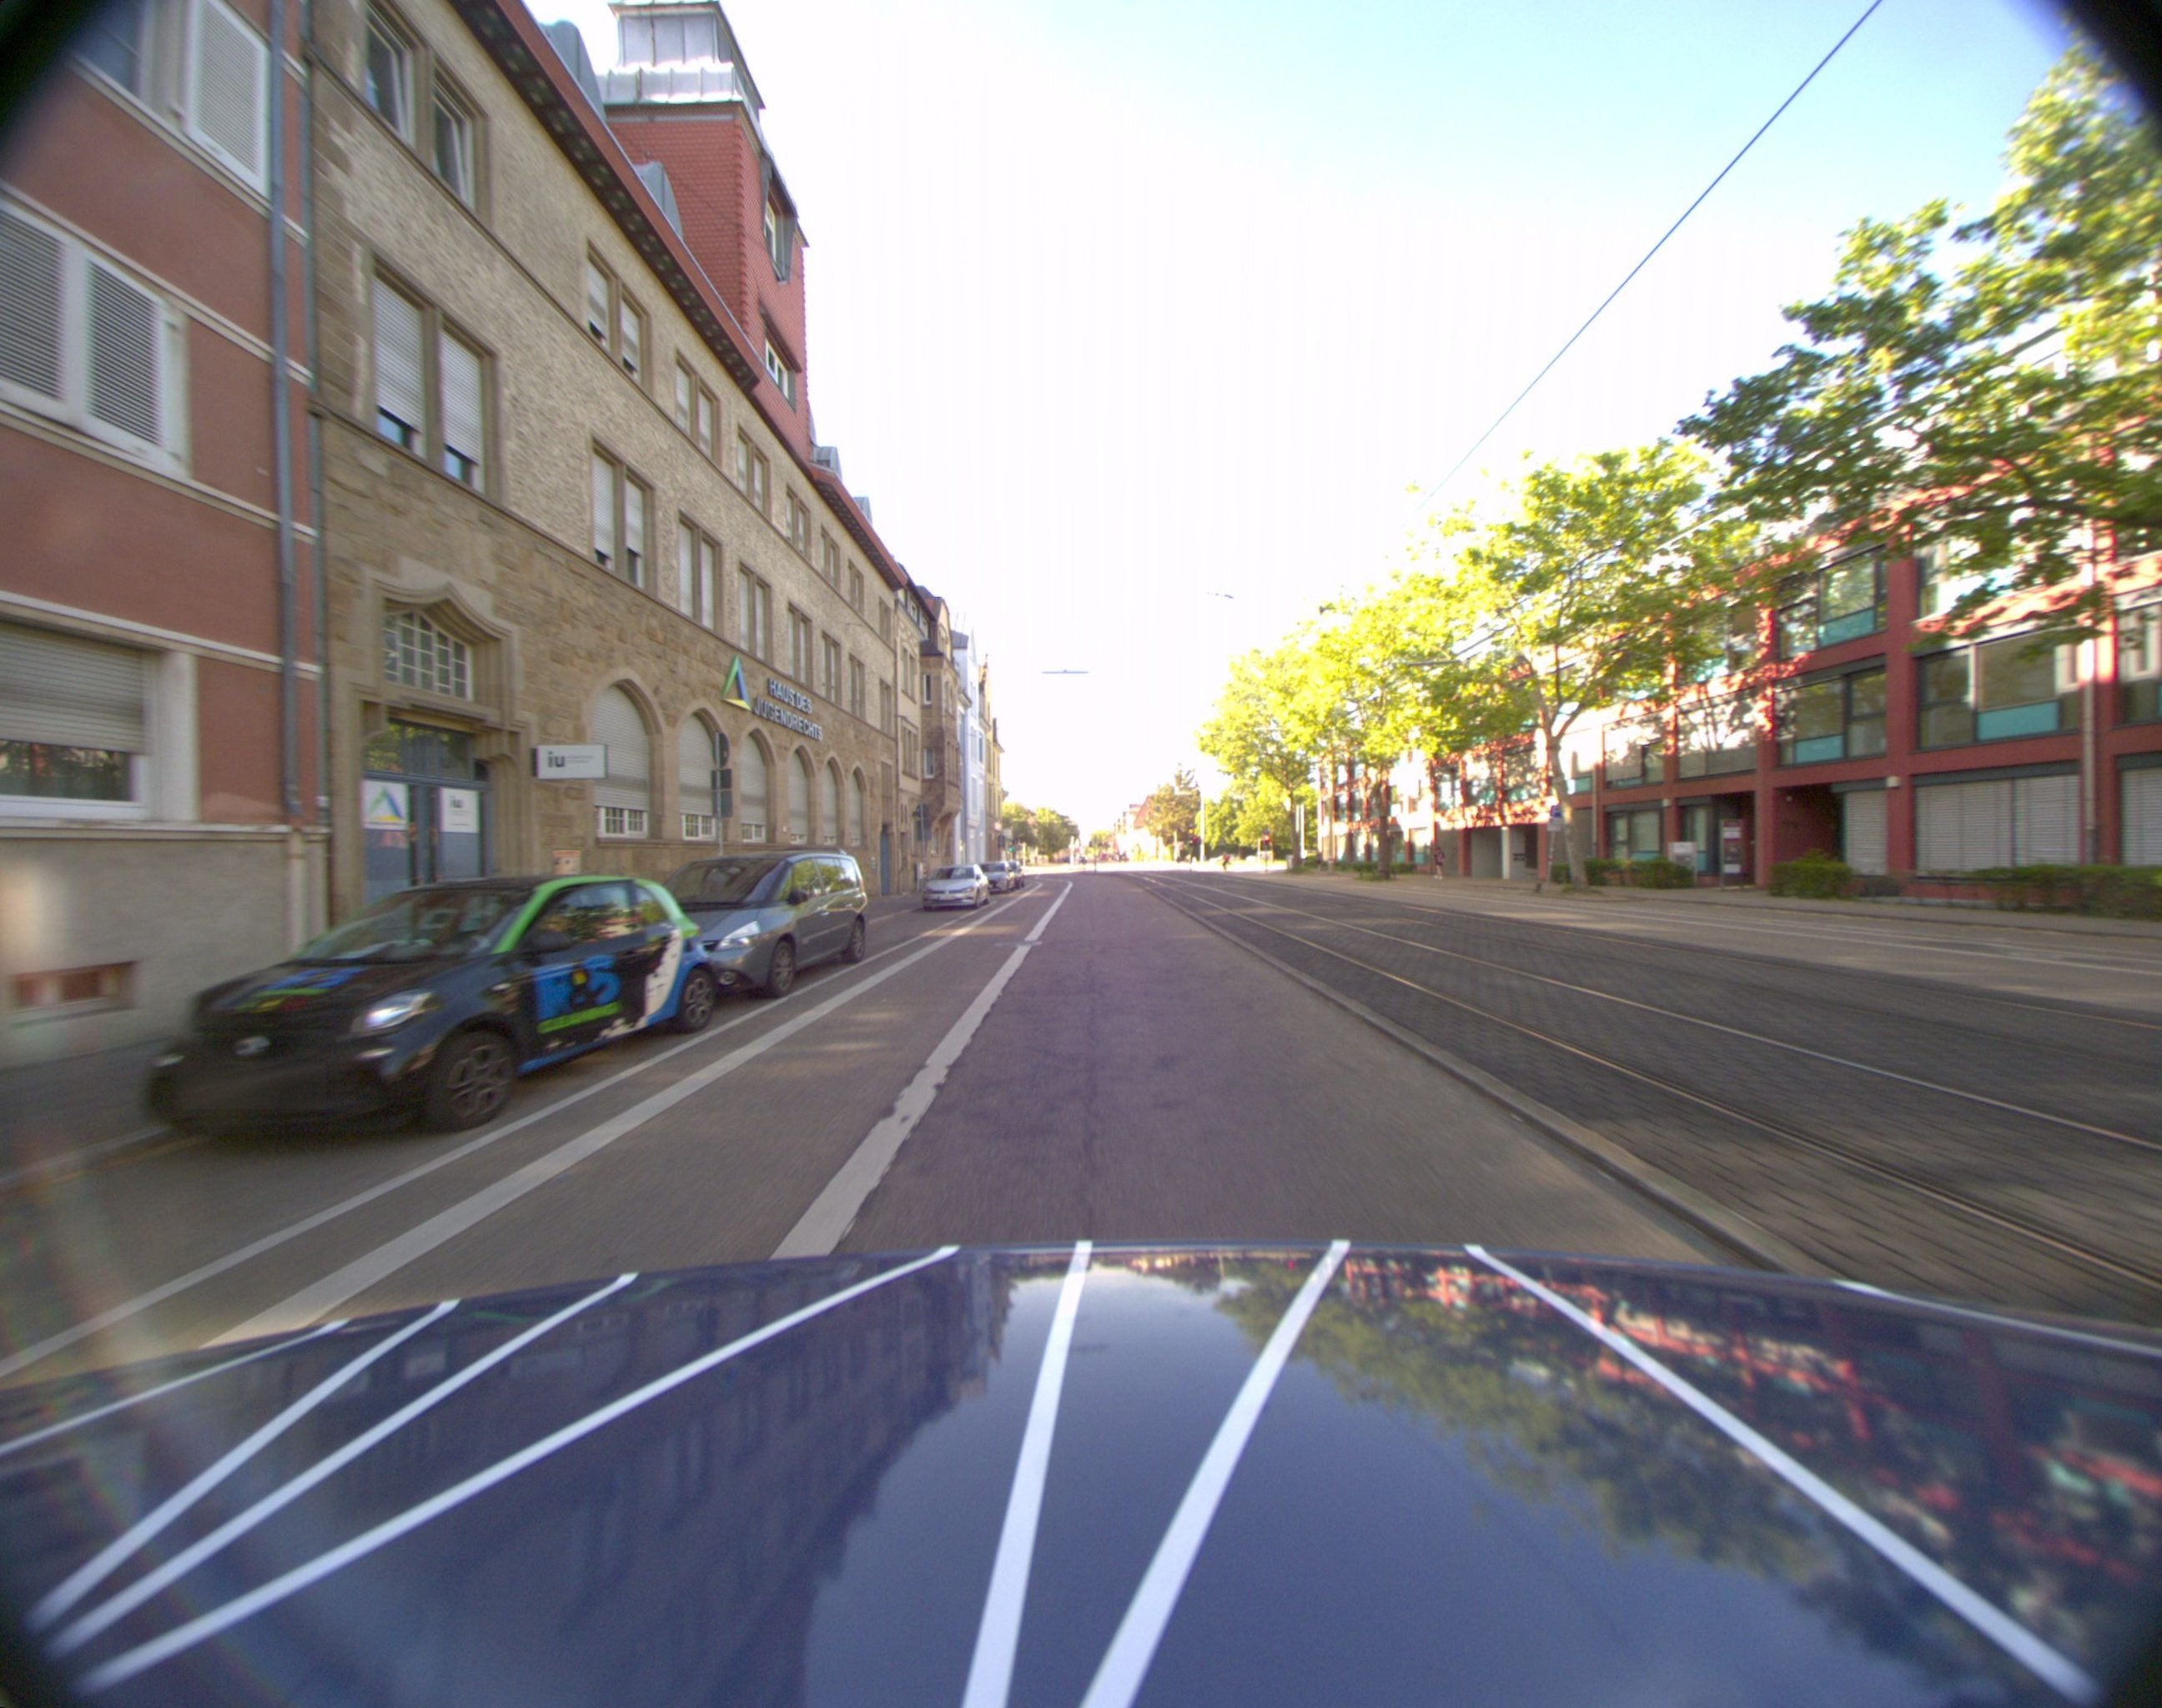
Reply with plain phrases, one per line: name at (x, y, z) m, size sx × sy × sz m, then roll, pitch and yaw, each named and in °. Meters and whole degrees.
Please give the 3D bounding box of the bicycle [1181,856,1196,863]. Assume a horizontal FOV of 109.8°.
bicycle at (16.799, 0.862, 118.661) m, size 2.284 × 1.111 × 0.930 m, roll -1°, pitch 1°, yaw 9°

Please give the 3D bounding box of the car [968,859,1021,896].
car at (-3.979, 1.053, 35.568) m, size 1.757 × 1.492 × 4.196 m, roll -3°, pitch 0°, yaw 2°

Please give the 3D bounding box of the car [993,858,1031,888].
car at (-3.680, 1.001, 41.105) m, size 1.659 × 1.474 × 4.000 m, roll -2°, pitch 0°, yaw 0°

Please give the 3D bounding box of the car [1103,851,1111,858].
car at (7.037, 0.130, 205.183) m, size 2.024 × 2.001 × 5.252 m, roll 1°, pitch -1°, yaw 4°

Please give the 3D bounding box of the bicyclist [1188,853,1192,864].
bicyclist at (16.982, 0.726, 118.609) m, size 0.559 × 1.613 × 0.899 m, roll -1°, pitch 1°, yaw 9°

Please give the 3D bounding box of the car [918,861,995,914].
car at (-4.049, 1.041, 25.376) m, size 1.718 × 1.492 × 4.226 m, roll -3°, pitch 0°, yaw 1°

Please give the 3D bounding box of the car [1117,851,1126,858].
car at (10.665, 0.208, 200.263) m, size 1.924 × 1.705 × 4.000 m, roll -3°, pitch 0°, yaw 1°

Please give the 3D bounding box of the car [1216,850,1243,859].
car at (22.916, 0.079, 117.648) m, size 3.995 × 1.425 × 1.817 m, roll -1°, pitch 0°, yaw 6°

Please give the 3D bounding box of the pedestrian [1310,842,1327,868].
pedestrian at (18.868, 0.095, 60.357) m, size 0.913 × 2.002 × 0.780 m, roll -3°, pitch 0°, yaw -8°

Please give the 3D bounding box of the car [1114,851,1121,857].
car at (11.084, -0.006, 230.076) m, size 1.924 × 1.705 × 4.001 m, roll -3°, pitch 0°, yaw 2°

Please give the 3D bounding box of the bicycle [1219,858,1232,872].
bicycle at (12.738, 0.962, 66.961) m, size 0.632 × 1.123 × 2.039 m, roll -3°, pitch 0°, yaw 26°

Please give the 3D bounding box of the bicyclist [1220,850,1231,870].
bicyclist at (12.725, 0.520, 66.970) m, size 0.605 × 1.682 × 0.934 m, roll -3°, pitch 0°, yaw 26°

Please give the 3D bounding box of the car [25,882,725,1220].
car at (-4.450, 1.076, 5.705) m, size 1.635 × 1.502 × 3.717 m, roll -3°, pitch 0°, yaw 2°

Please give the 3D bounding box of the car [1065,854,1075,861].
car at (-2.534, 0.827, 176.676) m, size 1.704 × 1.541 × 4.002 m, roll -3°, pitch 0°, yaw 6°

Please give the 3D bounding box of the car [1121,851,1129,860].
car at (10.334, 0.369, 178.949) m, size 1.923 × 1.890 × 4.001 m, roll -3°, pitch 0°, yaw 3°

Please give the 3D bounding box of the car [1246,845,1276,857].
car at (28.424, -0.484, 120.117) m, size 4.311 × 1.856 × 1.817 m, roll -1°, pitch 0°, yaw 3°

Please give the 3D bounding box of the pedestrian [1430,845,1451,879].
pedestrian at (18.915, 0.419, 39.953) m, size 0.627 × 1.708 × 0.900 m, roll -3°, pitch 0°, yaw 0°

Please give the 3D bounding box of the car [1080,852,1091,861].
car at (0.975, 0.552, 163.242) m, size 1.923 × 1.705 × 4.001 m, roll -3°, pitch 0°, yaw 3°

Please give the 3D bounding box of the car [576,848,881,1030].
car at (-4.291, 0.879, 10.290) m, size 1.757 × 1.844 × 4.815 m, roll -2°, pitch 0°, yaw 1°

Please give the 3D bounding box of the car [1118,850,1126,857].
car at (10.449, -0.109, 193.974) m, size 1.924 × 1.705 × 4.000 m, roll -3°, pitch 0°, yaw 2°

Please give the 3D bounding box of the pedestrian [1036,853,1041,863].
pedestrian at (-7.294, 0.721, 130.883) m, size 0.655 × 1.664 × 0.943 m, roll 1°, pitch 0°, yaw 3°
